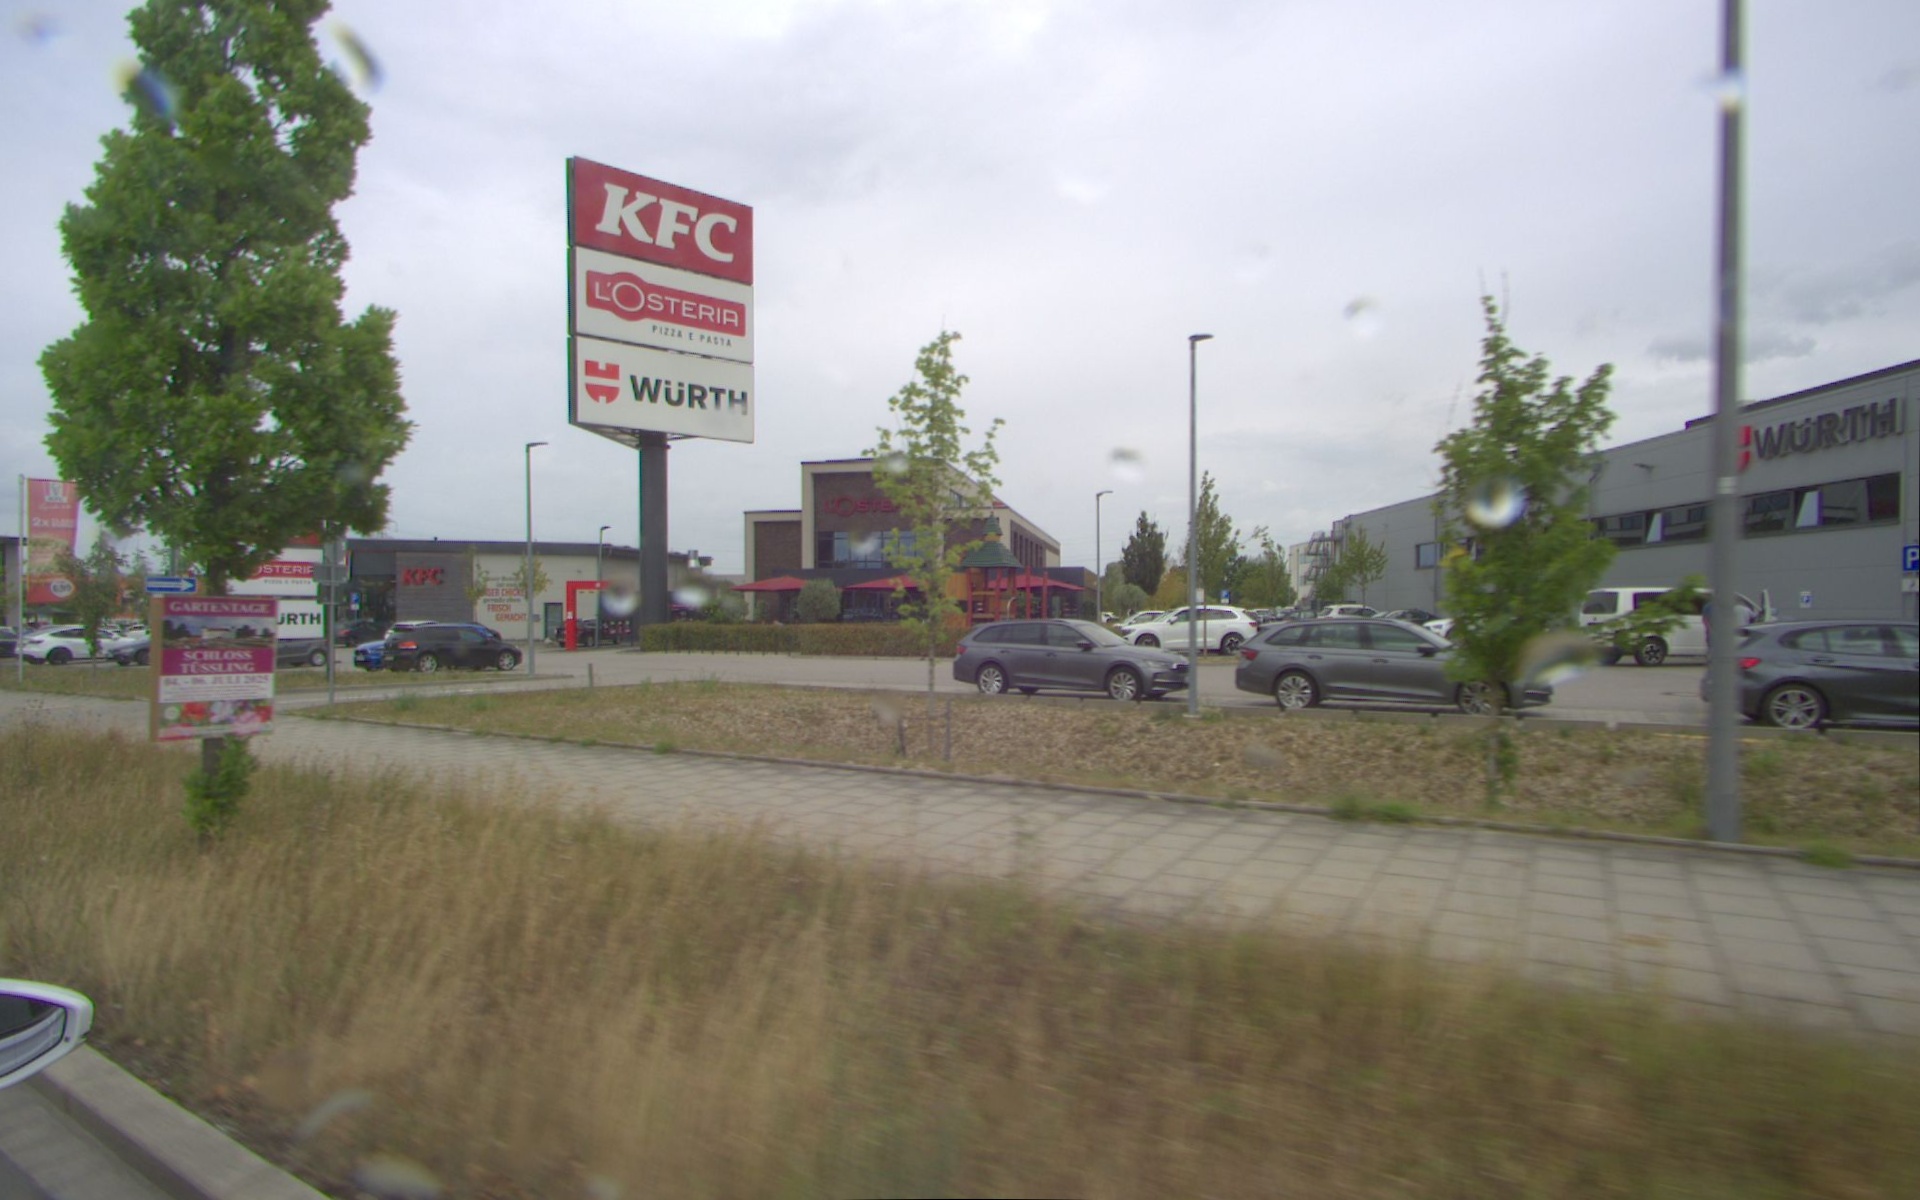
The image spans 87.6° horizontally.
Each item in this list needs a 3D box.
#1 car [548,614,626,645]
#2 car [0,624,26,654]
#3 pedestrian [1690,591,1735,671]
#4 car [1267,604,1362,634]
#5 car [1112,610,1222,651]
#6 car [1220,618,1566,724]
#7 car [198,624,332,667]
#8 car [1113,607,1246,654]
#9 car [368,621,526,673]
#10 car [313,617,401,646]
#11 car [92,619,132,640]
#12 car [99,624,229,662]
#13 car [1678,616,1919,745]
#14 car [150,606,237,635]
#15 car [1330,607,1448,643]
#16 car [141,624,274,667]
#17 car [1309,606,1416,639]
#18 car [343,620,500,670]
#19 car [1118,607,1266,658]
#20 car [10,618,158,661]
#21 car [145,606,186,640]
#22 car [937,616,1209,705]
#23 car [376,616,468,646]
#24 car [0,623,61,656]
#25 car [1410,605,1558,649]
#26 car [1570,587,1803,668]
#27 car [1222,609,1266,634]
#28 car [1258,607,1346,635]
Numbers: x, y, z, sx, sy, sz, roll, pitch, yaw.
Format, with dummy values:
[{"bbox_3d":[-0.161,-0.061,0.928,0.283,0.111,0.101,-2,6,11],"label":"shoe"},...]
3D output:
[{"bbox_3d":[-20.479,1.597,55.192,1.861,1.539,4.573,0,0,11],"label":"car"},{"bbox_3d":[-48.251,1.922,48.441,1.907,1.457,4.092,0,0,16],"label":"car"},{"bbox_3d":[18.161,0.738,24.162,0.608,1.893,0.794,0,0,-44],"label":"pedestrian"},{"bbox_3d":[19.243,1.026,54.519,4.487,1.539,2.080,0,0,4],"label":"car"},{"bbox_3d":[8.477,1.253,41.309,4.243,1.650,1.986,0,-1,4],"label":"car"},{"bbox_3d":[6.760,1.020,15.898,4.806,1.456,1.861,0,0,29],"label":"car"},{"bbox_3d":[-26.304,1.682,38.019,1.861,1.513,3.754,-1,-1,29],"label":"car"},{"bbox_3d":[8.052,1.121,37.079,4.450,1.700,2.134,0,-1,0],"label":"car"},{"bbox_3d":[-16.038,1.424,31.464,1.955,1.513,3.977,-1,-1,34],"label":"car"},{"bbox_3d":[-35.172,1.791,58.535,2.009,1.539,4.374,0,0,11],"label":"car"},{"bbox_3d":[-62.143,2.138,73.401,1.932,1.462,4.188,0,-1,-36],"label":"car"},{"bbox_3d":[-34.337,1.831,43.296,1.909,1.504,3.986,-1,-1,26],"label":"car"},{"bbox_3d":[12.109,0.976,12.756,4.537,1.516,1.992,-2,-1,28],"label":"car"},{"bbox_3d":[-69.175,1.850,90.518,5.960,2.562,2.269,0,0,-30],"label":"car"},{"bbox_3d":[19.395,1.127,45.423,4.487,1.539,2.081,0,0,1],"label":"car"},{"bbox_3d":[-30.352,1.787,40.493,1.873,1.501,3.858,-1,0,28],"label":"car"},{"bbox_3d":[19.872,1.087,49.622,4.487,1.539,2.080,0,0,4],"label":"car"},{"bbox_3d":[-17.852,1.453,33.376,1.937,1.540,4.255,-1,-1,32],"label":"car"},{"bbox_3d":[7.876,1.100,34.376,4.699,1.719,2.000,0,-1,4],"label":"car"},{"bbox_3d":[-39.090,1.723,44.829,2.053,1.667,4.563,-1,1,22],"label":"car"},{"bbox_3d":[-60.464,1.711,76.308,2.254,2.534,7.273,0,0,-37],"label":"car"},{"bbox_3d":[2.089,1.046,18.939,4.761,1.479,1.958,0,0,32],"label":"car"},{"bbox_3d":[-30.242,1.727,56.486,2.042,1.539,4.572,0,0,13],"label":"car"},{"bbox_3d":[-45.627,1.877,47.132,1.995,1.488,4.525,0,-1,18],"label":"car"},{"bbox_3d":[19.741,1.002,37.888,4.487,1.539,2.080,-1,1,4],"label":"car"},{"bbox_3d":[18.616,0.692,25.813,4.545,2.013,2.000,0,0,1],"label":"car"},{"bbox_3d":[18.234,1.367,64.545,2.041,1.539,4.458,0,0,7],"label":"car"},{"bbox_3d":[19.564,1.172,57.465,4.372,1.539,2.080,0,0,4],"label":"car"}]
